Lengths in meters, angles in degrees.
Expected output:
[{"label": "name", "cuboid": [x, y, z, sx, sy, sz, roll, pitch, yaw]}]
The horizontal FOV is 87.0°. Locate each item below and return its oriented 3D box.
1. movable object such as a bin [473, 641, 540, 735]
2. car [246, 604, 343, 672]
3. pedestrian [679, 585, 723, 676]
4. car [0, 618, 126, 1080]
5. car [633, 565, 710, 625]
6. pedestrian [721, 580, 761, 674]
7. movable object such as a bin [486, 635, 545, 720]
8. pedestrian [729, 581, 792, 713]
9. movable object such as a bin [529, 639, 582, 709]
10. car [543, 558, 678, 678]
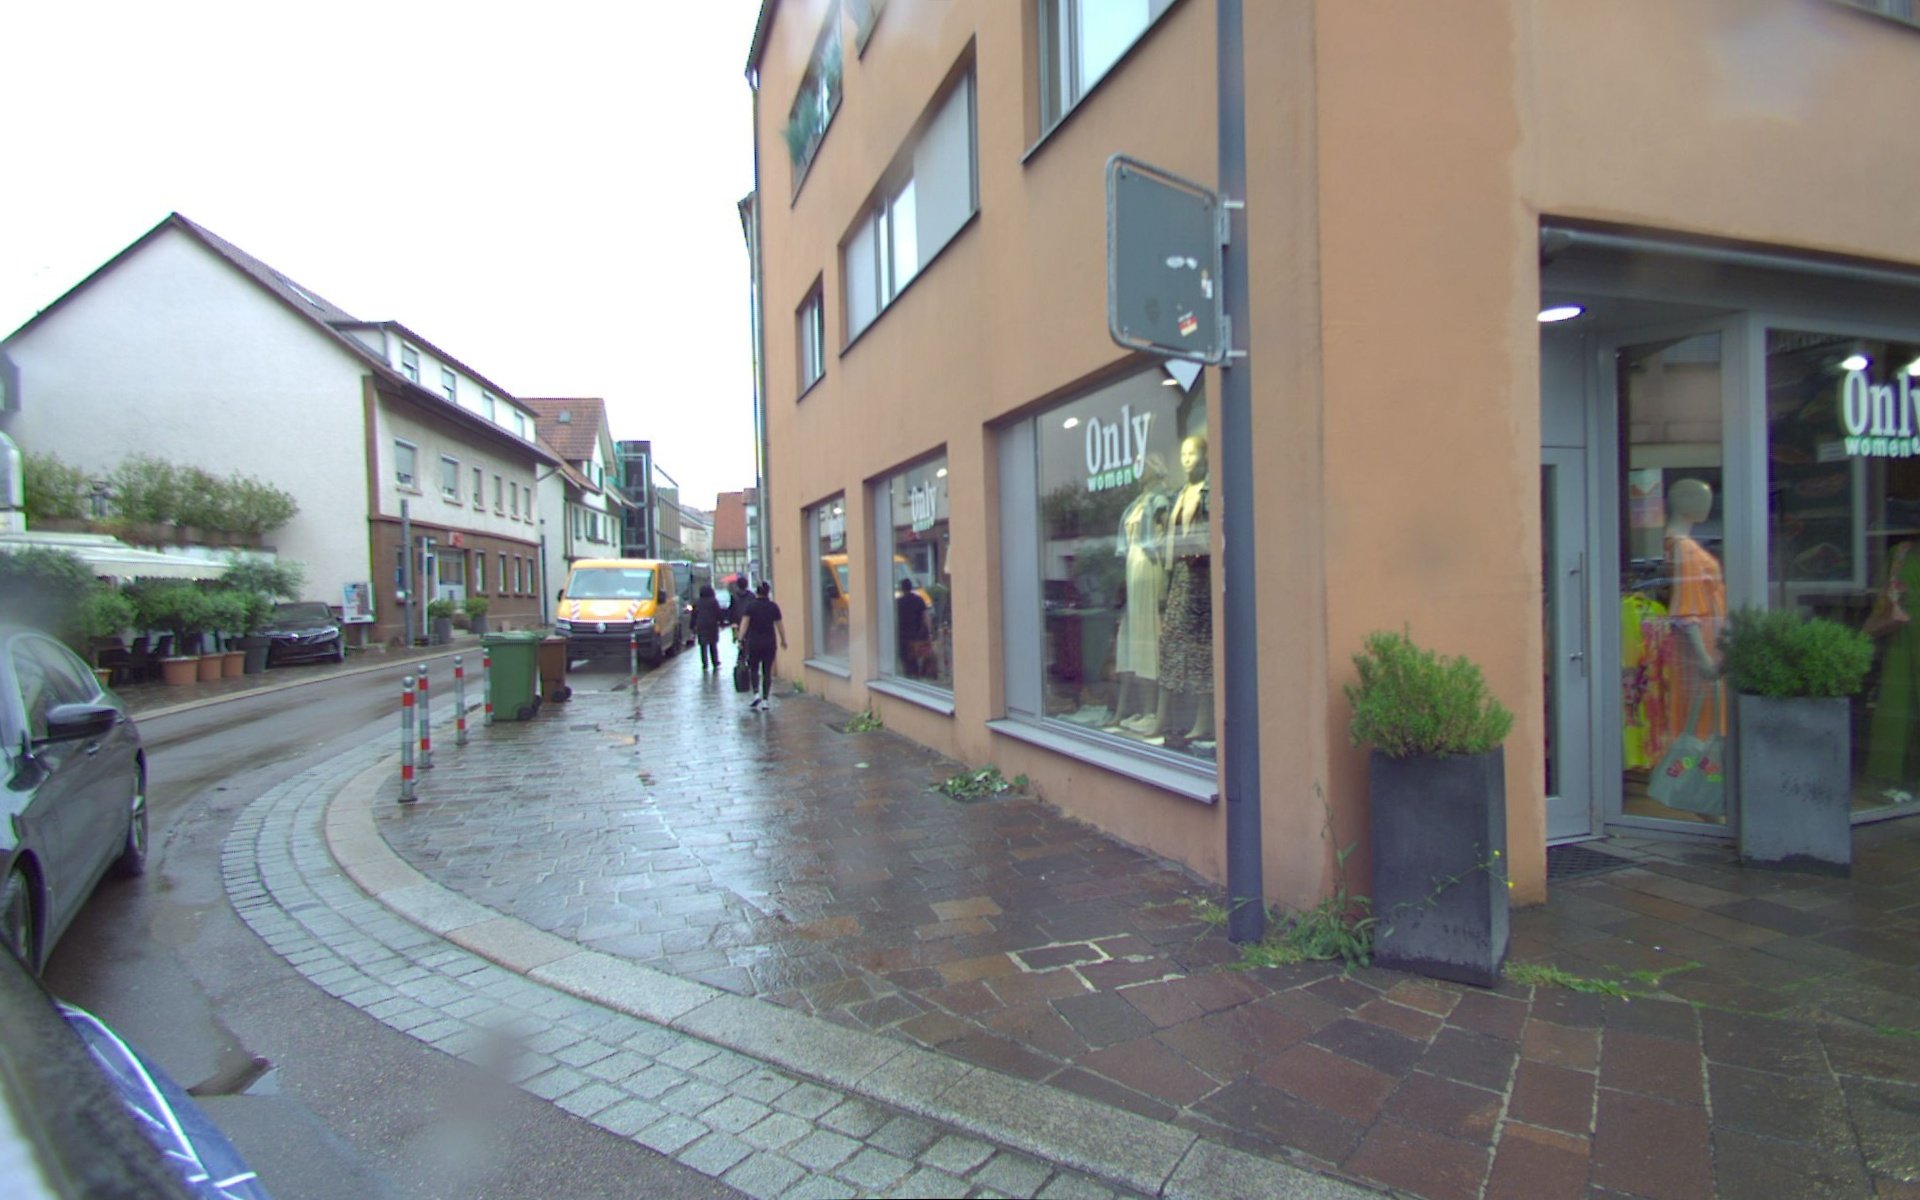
[{"label": "movable object such as a bin", "cuboid": [-5.456, 1.046, 12.207, 0.647, 1.044, 0.612, -2, 1, -18]}, {"label": "car", "cuboid": [-15.229, 0.803, 23.296, 1.709, 1.367, 3.948, -2, 1, -32]}, {"label": "pedestrian", "cuboid": [-4.909, 0.558, 19.166, 0.705, 1.651, 0.748, -3, 1, -17]}, {"label": "car", "cuboid": [-4.999, 0.838, 4.442, 1.917, 1.413, 4.429, -2, 1, -38]}, {"label": "car", "cuboid": [-15.344, -0.227, 54.380, 2.669, 2.895, 8.859, -2, 0, -8]}, {"label": "pedestrian", "cuboid": [-4.199, 0.498, 19.381, 0.614, 1.725, 0.811, -3, 1, -17]}, {"label": "movable object such as a bin", "cuboid": [-5.894, 1.016, 13.437, 0.647, 1.044, 0.612, -1, 1, -18]}, {"label": "pedestrian", "cuboid": [-2.568, 0.582, 13.000, 0.650, 1.622, 0.686, -2, 0, -20]}, {"label": "movable object such as a bin", "cuboid": [-5.828, 1.055, 14.609, 0.574, 0.934, 0.482, -3, 1, -9]}, {"label": "car", "cuboid": [-7.478, 0.315, 22.251, 1.967, 2.256, 5.875, -1, 1, -11]}]
